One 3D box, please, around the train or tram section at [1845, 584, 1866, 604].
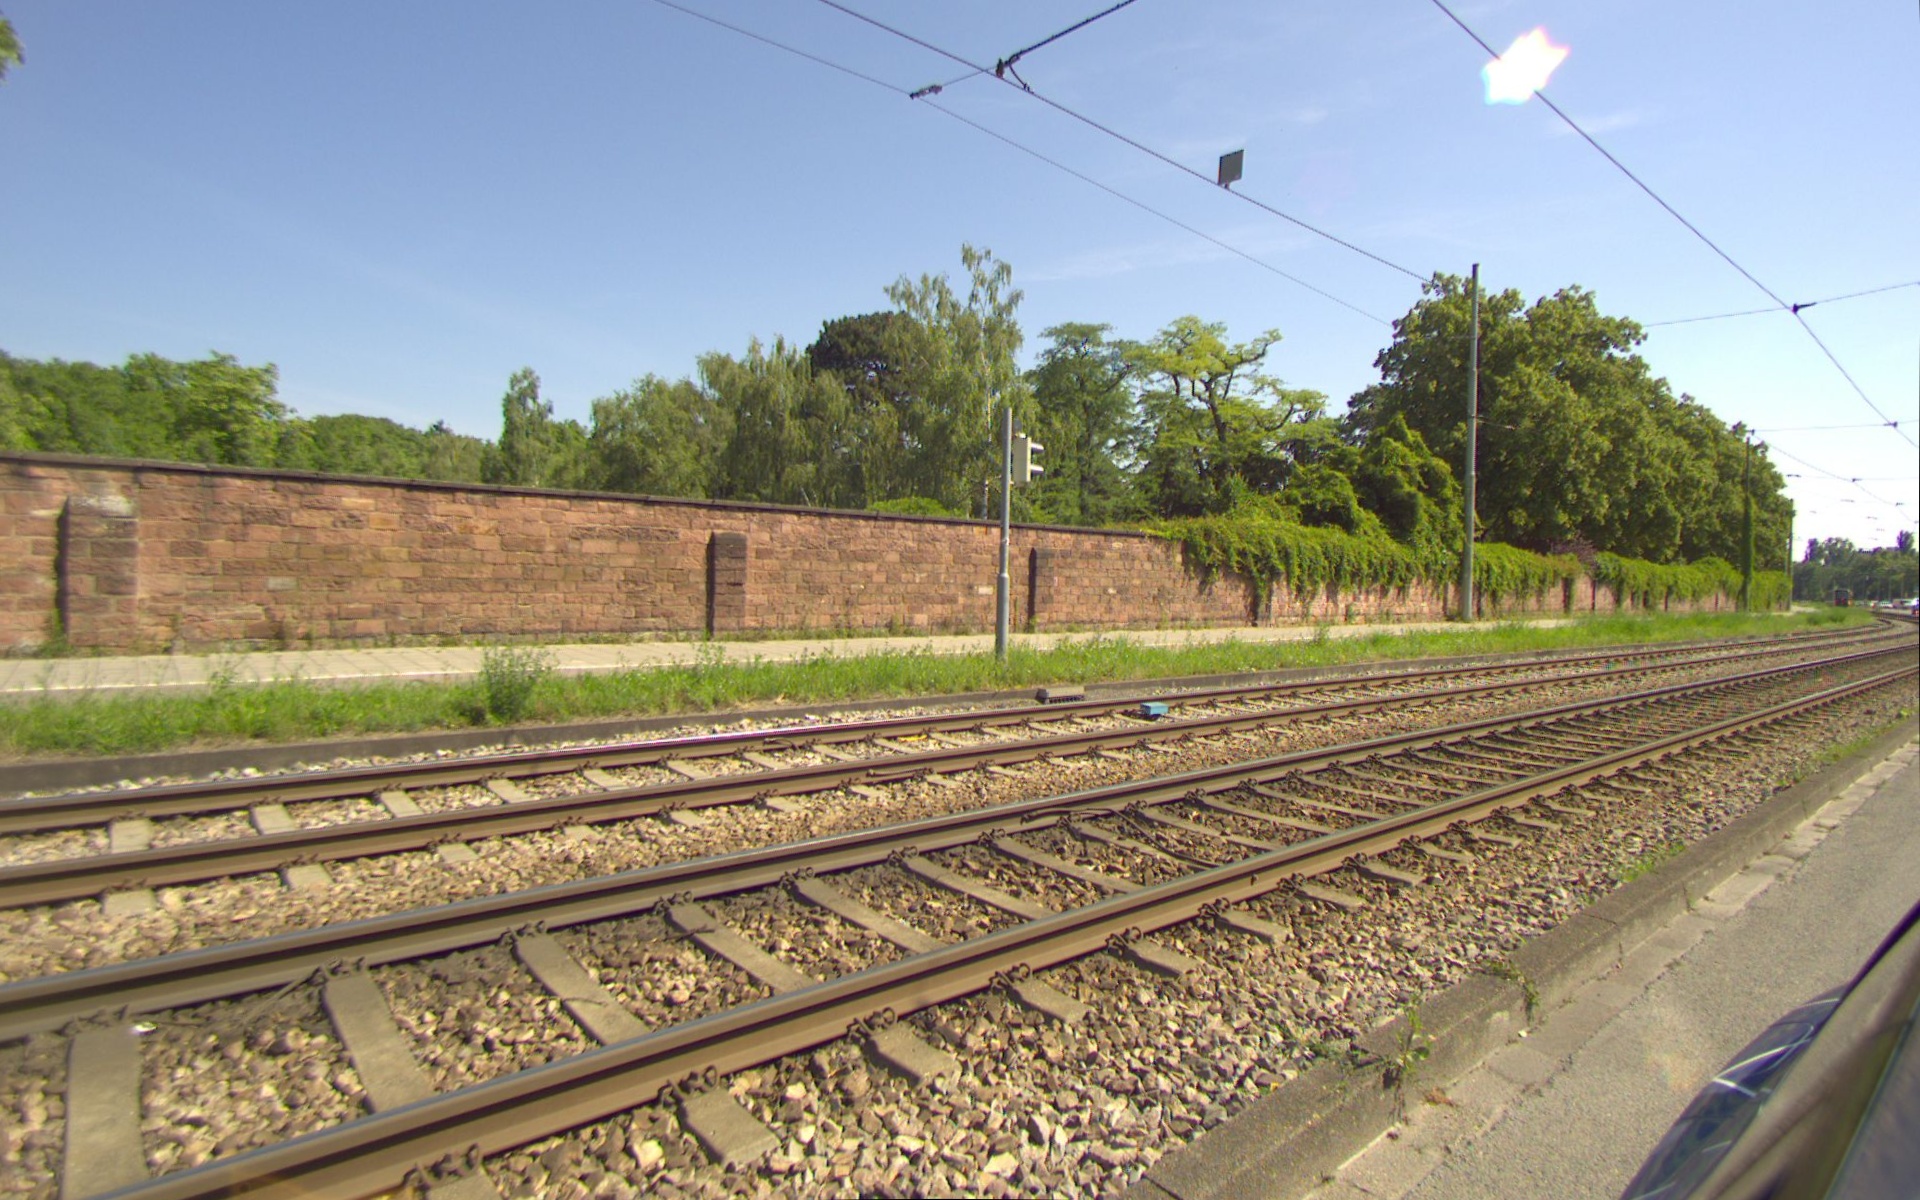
[{"bbox_3d":[173.755,-1.199,196.194,2.713,3.784,18.587,1,1,43],"label":"train or tram section"}]
